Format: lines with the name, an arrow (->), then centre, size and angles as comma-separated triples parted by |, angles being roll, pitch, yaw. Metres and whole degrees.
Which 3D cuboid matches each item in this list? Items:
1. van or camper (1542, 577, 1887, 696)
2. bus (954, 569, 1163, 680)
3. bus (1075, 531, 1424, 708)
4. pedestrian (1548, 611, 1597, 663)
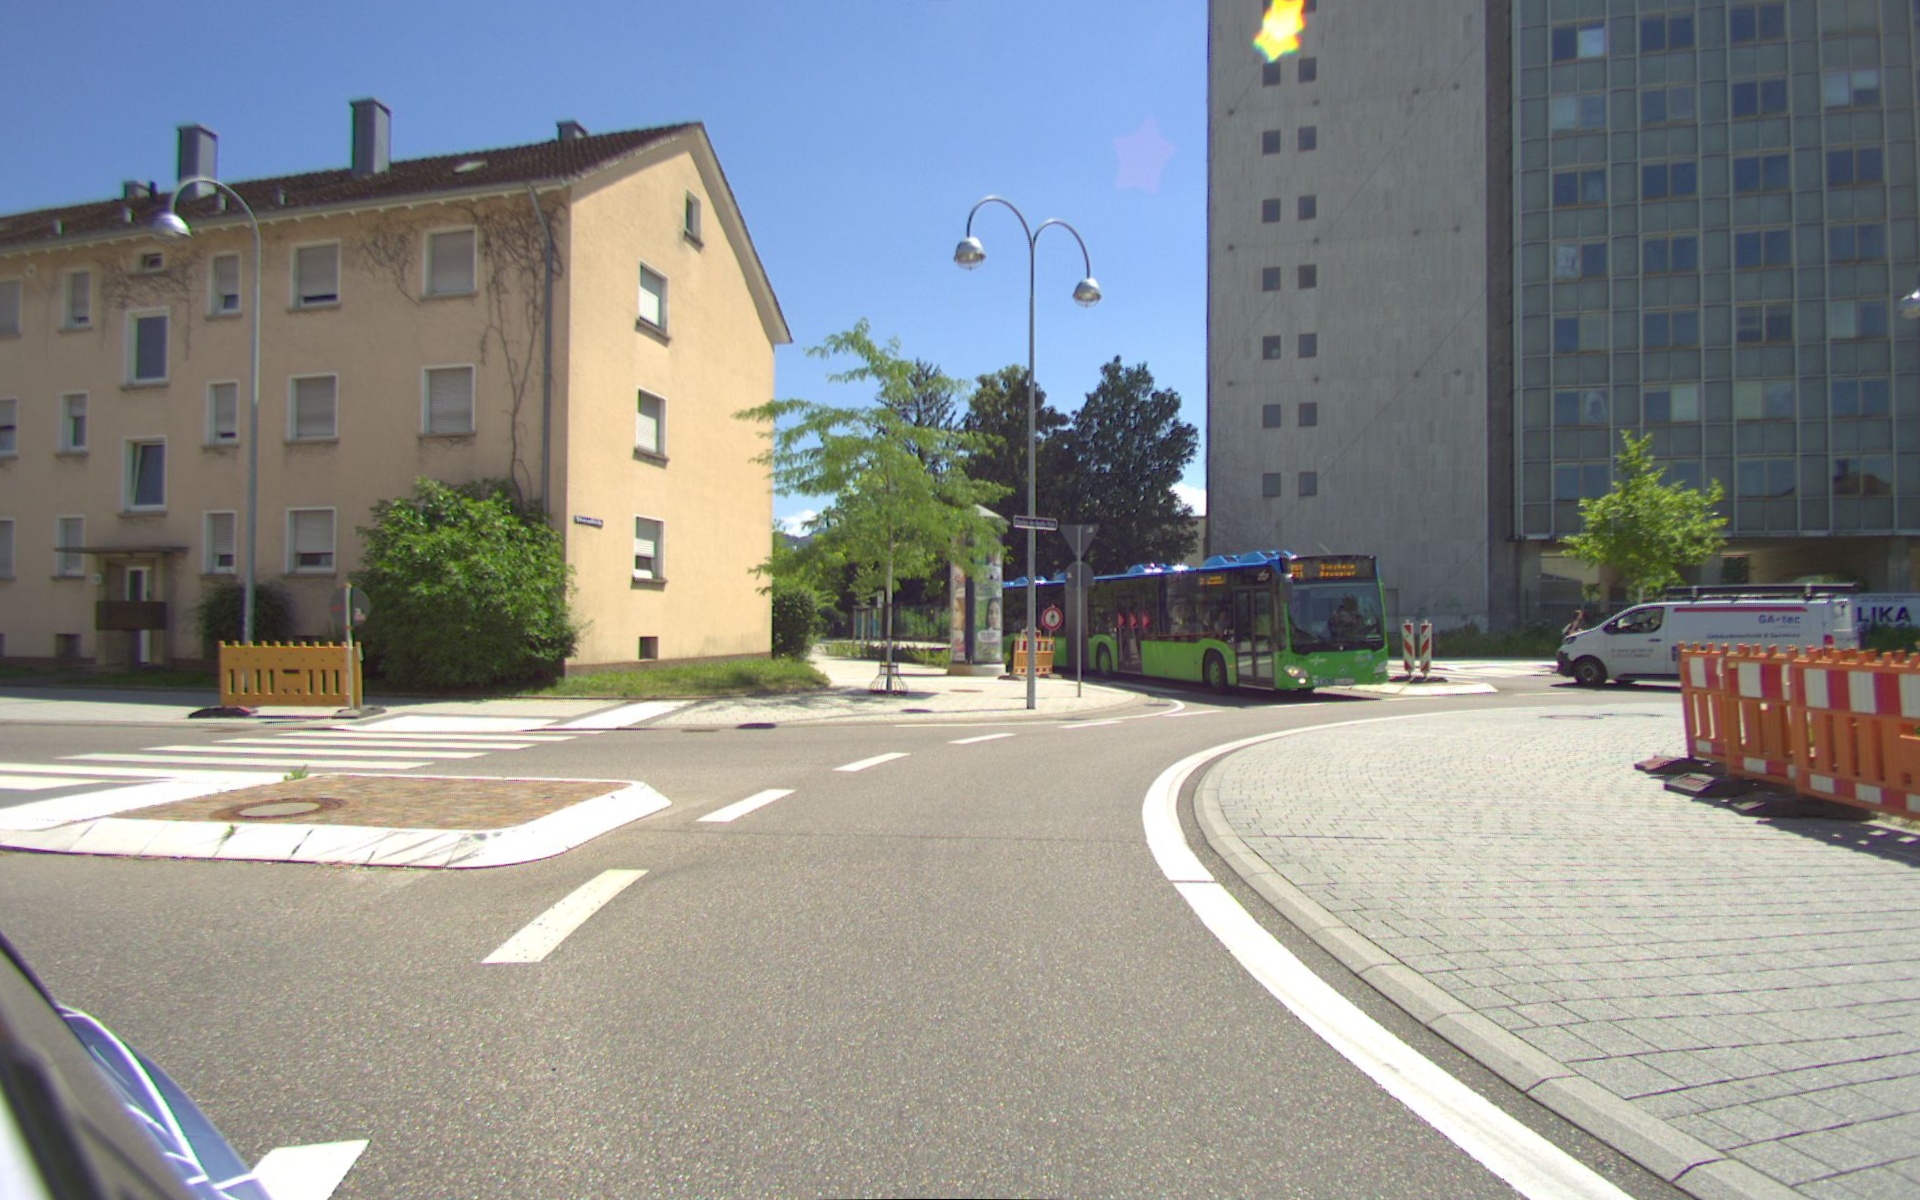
van or camper -> 15.595, 0.744, 21.302 | 1.967, 2.188, 5.427 | 0, -2, -34
bus -> 2.909, 0.789, 33.600 | 2.781, 3.134, 8.952 | -2, -1, -24
bus -> 6.243, 0.433, 24.496 | 2.913, 3.350, 10.115 | -2, -1, -17
pedestrian -> 19.311, 1.144, 31.902 | 1.278, 1.597, 0.938 | -1, -2, 33
